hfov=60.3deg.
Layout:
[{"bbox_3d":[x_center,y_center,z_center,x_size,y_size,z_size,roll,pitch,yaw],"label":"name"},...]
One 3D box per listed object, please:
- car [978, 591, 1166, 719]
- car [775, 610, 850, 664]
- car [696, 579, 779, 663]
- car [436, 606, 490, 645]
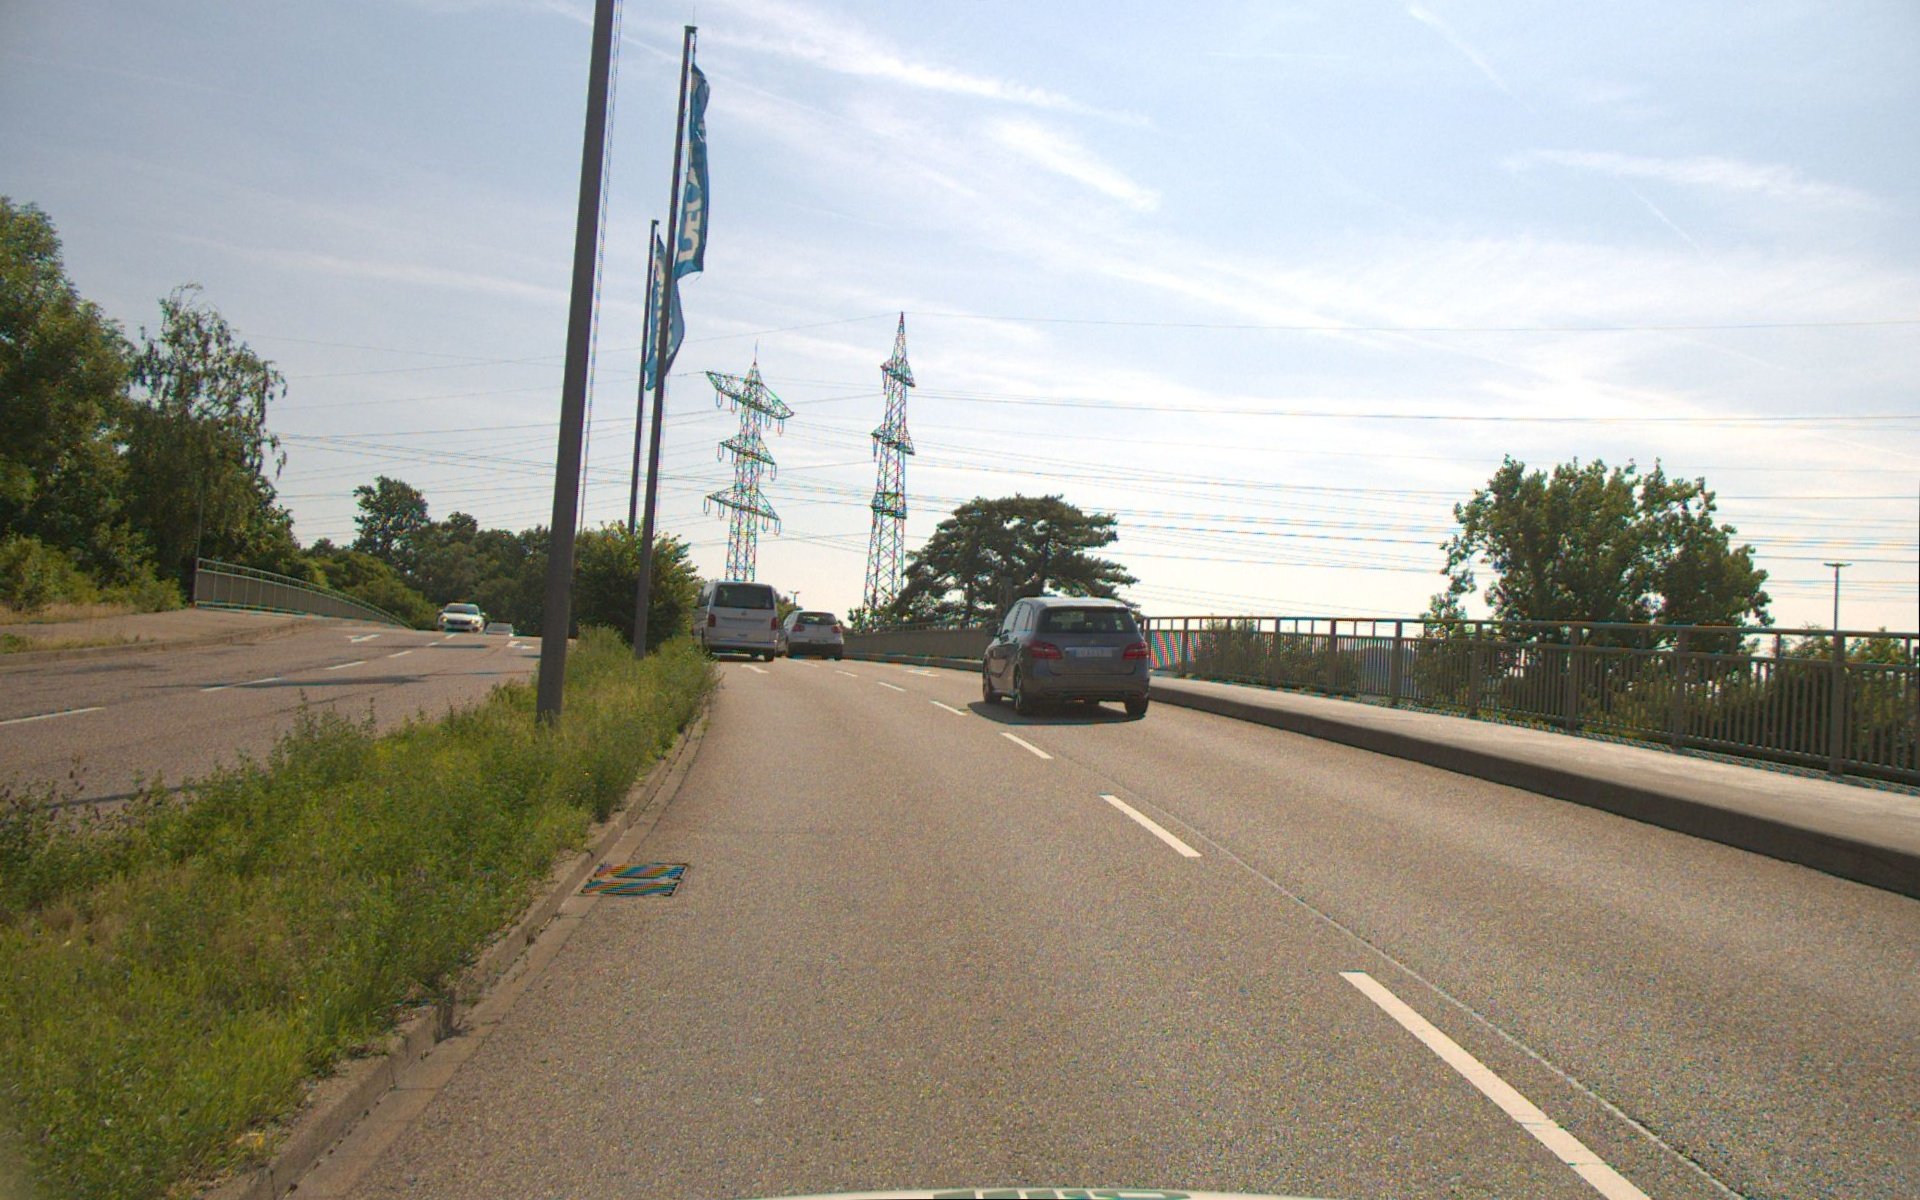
[{"bbox_3d":[1.459,0.736,23.101,1.821,1.556,4.137,2,-1,-7],"label":"car"},{"bbox_3d":[-4.631,1.116,51.556,1.823,1.556,4.131,2,-1,-12],"label":"car"},{"bbox_3d":[-5.767,0.533,42.944,2.001,2.049,3.993,1,0,-8],"label":"car"},{"bbox_3d":[-21.309,1.096,71.048,1.765,1.578,3.989,1,-1,-11],"label":"car"}]
